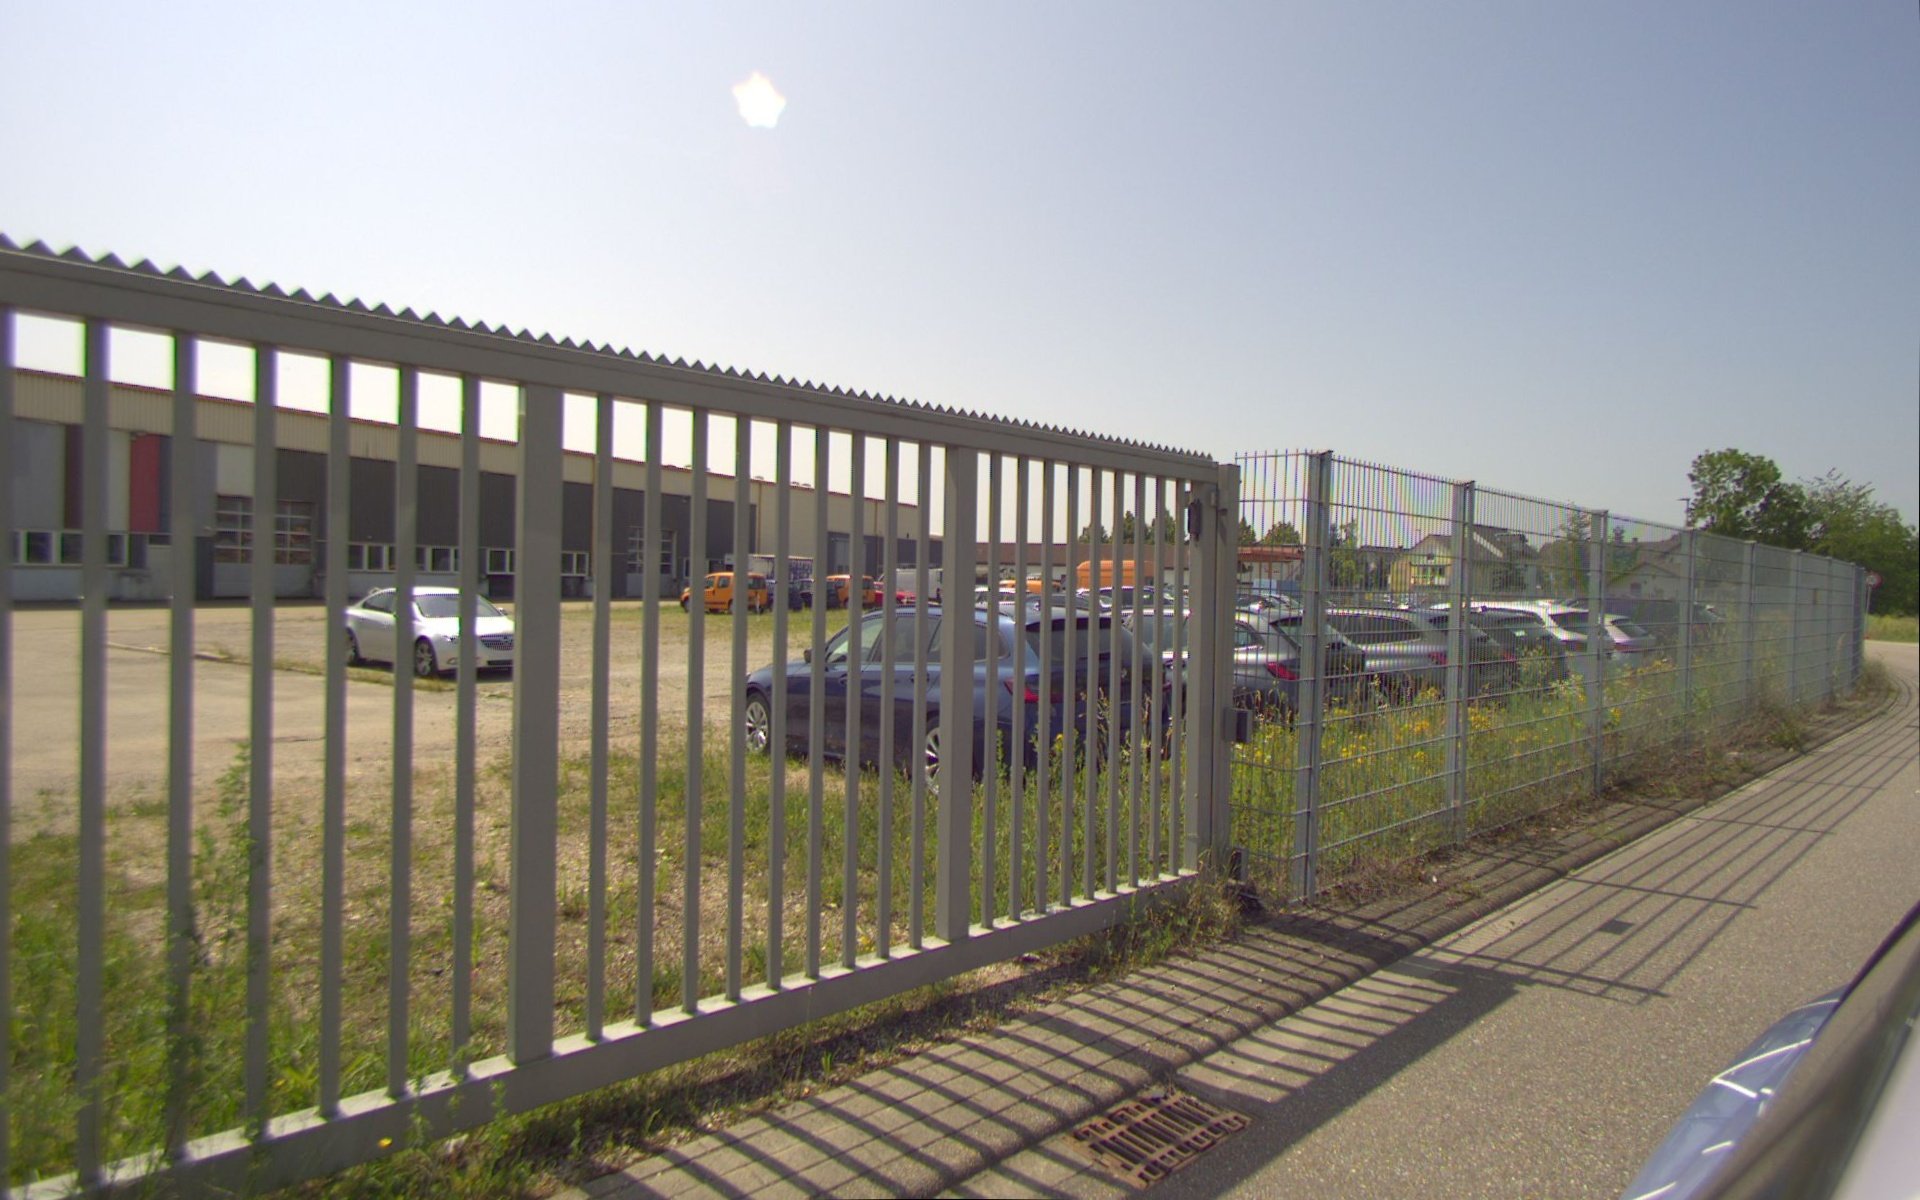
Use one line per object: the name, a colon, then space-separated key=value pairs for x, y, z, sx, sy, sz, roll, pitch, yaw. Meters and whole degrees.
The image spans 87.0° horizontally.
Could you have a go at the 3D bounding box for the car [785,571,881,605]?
car: x=-6.204 y=-0.601 z=49.326 sx=4.355 sy=1.504 sz=1.952 roll=3 pitch=1 yaw=31

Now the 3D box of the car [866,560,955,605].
car: x=-2.658 y=-0.950 z=53.738 sx=4.355 sy=2.199 sz=1.952 roll=3 pitch=1 yaw=31

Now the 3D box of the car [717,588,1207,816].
car: x=-0.279 y=0.679 z=8.645 sx=1.736 sy=1.424 sz=4.518 roll=0 pitch=-1 yaw=-39

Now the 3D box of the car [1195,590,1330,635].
car: x=11.280 y=0.427 z=37.869 sx=4.545 sy=1.450 sz=1.642 roll=3 pitch=1 yaw=34

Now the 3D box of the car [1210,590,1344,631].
car: x=12.437 y=0.370 z=39.845 sx=4.727 sy=1.368 sz=1.799 roll=3 pitch=1 yaw=34

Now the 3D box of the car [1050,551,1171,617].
car: x=6.411 y=-0.715 z=43.348 sx=4.714 sy=2.617 sz=1.956 roll=3 pitch=1 yaw=34

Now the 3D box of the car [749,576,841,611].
car: x=-7.682 y=-0.328 z=47.040 sx=3.970 sy=1.482 sz=1.977 roll=2 pitch=1 yaw=33

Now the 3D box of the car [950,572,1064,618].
car: x=1.665 y=-0.191 z=36.437 sx=3.803 sy=1.480 sz=1.570 roll=3 pitch=1 yaw=34

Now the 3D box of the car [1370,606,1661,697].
car: x=9.857 y=0.856 z=18.262 sx=1.805 sy=1.424 sz=4.221 roll=0 pitch=-1 yaw=-37

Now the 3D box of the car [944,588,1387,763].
car: x=1.862 y=0.657 z=10.528 sx=1.608 sy=1.424 sz=4.518 roll=0 pitch=-1 yaw=-39

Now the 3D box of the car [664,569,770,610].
car: x=-10.161 y=-0.457 z=42.272 sx=4.355 sy=1.504 sz=1.733 roll=3 pitch=1 yaw=31

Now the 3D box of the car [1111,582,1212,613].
car: x=9.637 y=-0.139 z=48.457 sx=4.360 sy=1.285 sz=1.799 roll=3 pitch=1 yaw=34

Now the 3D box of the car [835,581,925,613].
car: x=-4.060 y=-0.168 z=51.250 sx=4.360 sy=1.395 sz=1.820 roll=3 pitch=1 yaw=34

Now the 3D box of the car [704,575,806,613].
car: x=-9.071 y=-0.269 z=44.688 sx=4.355 sy=1.504 sz=1.733 roll=3 pitch=1 yaw=31

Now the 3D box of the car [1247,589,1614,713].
car: x=6.265 y=0.624 z=13.920 sx=1.805 sy=1.424 sz=4.221 roll=0 pitch=-1 yaw=-37

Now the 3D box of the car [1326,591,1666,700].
car: x=7.997 y=0.629 z=15.462 sx=1.805 sy=1.424 sz=4.221 roll=0 pitch=-1 yaw=-37

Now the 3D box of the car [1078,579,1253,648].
car: x=5.728 y=0.334 z=28.487 sx=4.453 sy=1.669 sz=1.852 roll=3 pitch=1 yaw=38

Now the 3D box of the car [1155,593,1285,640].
car: x=8.356 y=0.504 z=32.660 sx=3.748 sy=1.318 sz=1.592 roll=3 pitch=1 yaw=34

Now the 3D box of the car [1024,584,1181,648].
car: x=3.707 y=0.374 z=26.551 sx=3.748 sy=1.455 sz=1.592 roll=3 pitch=1 yaw=34

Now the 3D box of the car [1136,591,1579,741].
car: x=4.452 y=0.656 z=11.906 sx=1.808 sy=1.424 sz=4.513 roll=0 pitch=-1 yaw=-43

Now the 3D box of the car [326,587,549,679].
car: x=-9.304 y=0.494 z=17.874 sx=4.494 sy=1.368 sz=1.606 roll=2 pitch=1 yaw=35

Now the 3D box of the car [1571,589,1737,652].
car: x=21.380 y=0.595 z=31.381 sx=4.104 sy=1.690 sz=1.703 roll=3 pitch=1 yaw=32

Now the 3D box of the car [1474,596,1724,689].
car: x=13.759 y=0.839 z=21.982 sx=1.735 sy=1.657 sz=4.285 roll=1 pitch=1 yaw=-44

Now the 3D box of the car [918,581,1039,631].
car: x=0.586 y=0.188 z=33.860 sx=3.803 sy=1.480 sz=1.570 roll=3 pitch=1 yaw=34
